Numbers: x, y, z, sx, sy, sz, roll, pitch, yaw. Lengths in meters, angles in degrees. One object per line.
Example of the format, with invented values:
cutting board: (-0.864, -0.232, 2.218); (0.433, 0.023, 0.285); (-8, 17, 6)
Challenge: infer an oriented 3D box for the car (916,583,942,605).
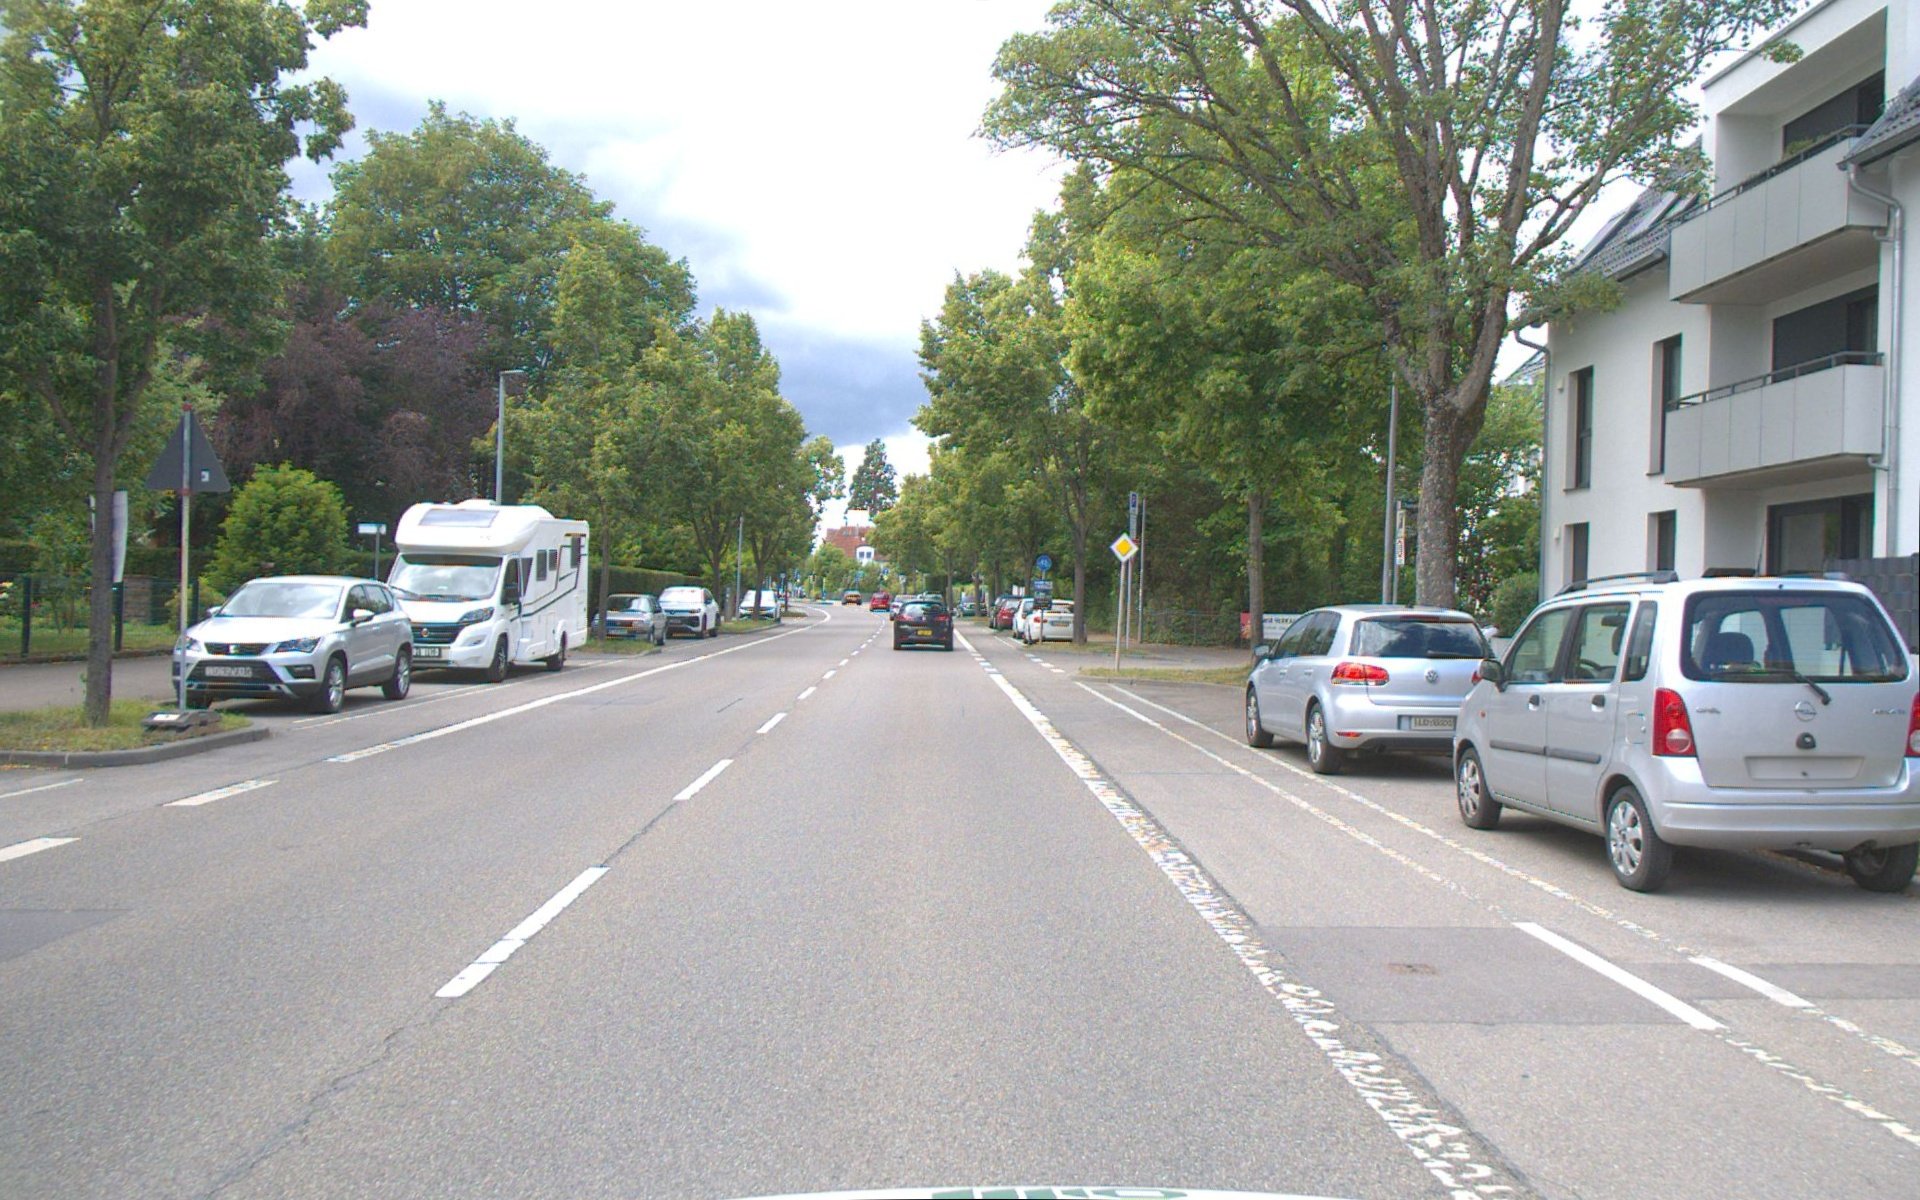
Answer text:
car: (-2.532, -0.491, 136.393); (1.754, 1.803, 3.977); (1, 0, -6)

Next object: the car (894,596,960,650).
car: (-0.988, 0.644, 47.639); (1.748, 1.474, 3.555); (1, 0, -4)

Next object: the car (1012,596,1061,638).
car: (2.849, 0.617, 62.146); (1.583, 1.485, 3.656); (1, 0, -2)

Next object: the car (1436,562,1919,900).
car: (4.310, 0.667, 10.226); (1.599, 1.694, 3.647); (1, 0, -1)

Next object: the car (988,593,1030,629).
car: (2.346, 0.495, 79.508); (1.606, 1.644, 4.166); (1, 0, -4)

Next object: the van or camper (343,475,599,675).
van or camper: (-8.427, -0.391, 29.526); (2.386, 3.062, 7.691); (1, 0, -1)

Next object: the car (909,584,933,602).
car: (-3.368, -0.564, 142.183); (1.654, 1.474, 3.573); (1, 0, -8)

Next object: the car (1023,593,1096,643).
car: (3.179, 0.552, 53.719); (1.980, 1.468, 5.024); (2, 0, -1)

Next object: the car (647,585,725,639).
car: (-9.096, 0.367, 55.263); (1.780, 1.681, 4.699); (2, 0, 0)

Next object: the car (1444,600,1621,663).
car: (14.730, 0.792, 42.672); (3.909, 1.485, 1.792); (1, 1, -5)

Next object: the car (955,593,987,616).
car: (0.715, 0.260, 108.995); (1.651, 1.457, 4.038); (1, 0, -7)

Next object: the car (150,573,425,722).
car: (-8.158, 0.523, 20.514); (1.687, 1.628, 4.271); (1, 0, -1)

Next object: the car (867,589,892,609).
car: (-6.440, -0.078, 132.608); (1.954, 1.557, 3.997); (1, 0, -3)

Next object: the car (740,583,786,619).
car: (-9.812, 0.049, 82.649); (1.836, 1.718, 4.864); (1, 0, -2)

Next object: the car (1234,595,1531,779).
car: (3.888, 0.724, 15.933); (1.653, 1.519, 4.225); (1, 0, -2)

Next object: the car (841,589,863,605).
car: (-10.877, -0.266, 166.517); (1.955, 1.534, 3.994); (2, -1, -6)

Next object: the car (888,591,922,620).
car: (-3.224, 0.329, 96.376); (1.953, 1.585, 3.998); (1, 0, -3)

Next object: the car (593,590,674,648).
car: (-8.915, 0.496, 45.476); (1.524, 1.496, 4.449); (1, 0, -3)

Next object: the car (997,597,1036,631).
car: (2.519, 0.616, 74.034); (1.604, 1.445, 4.000); (1, 0, 0)
